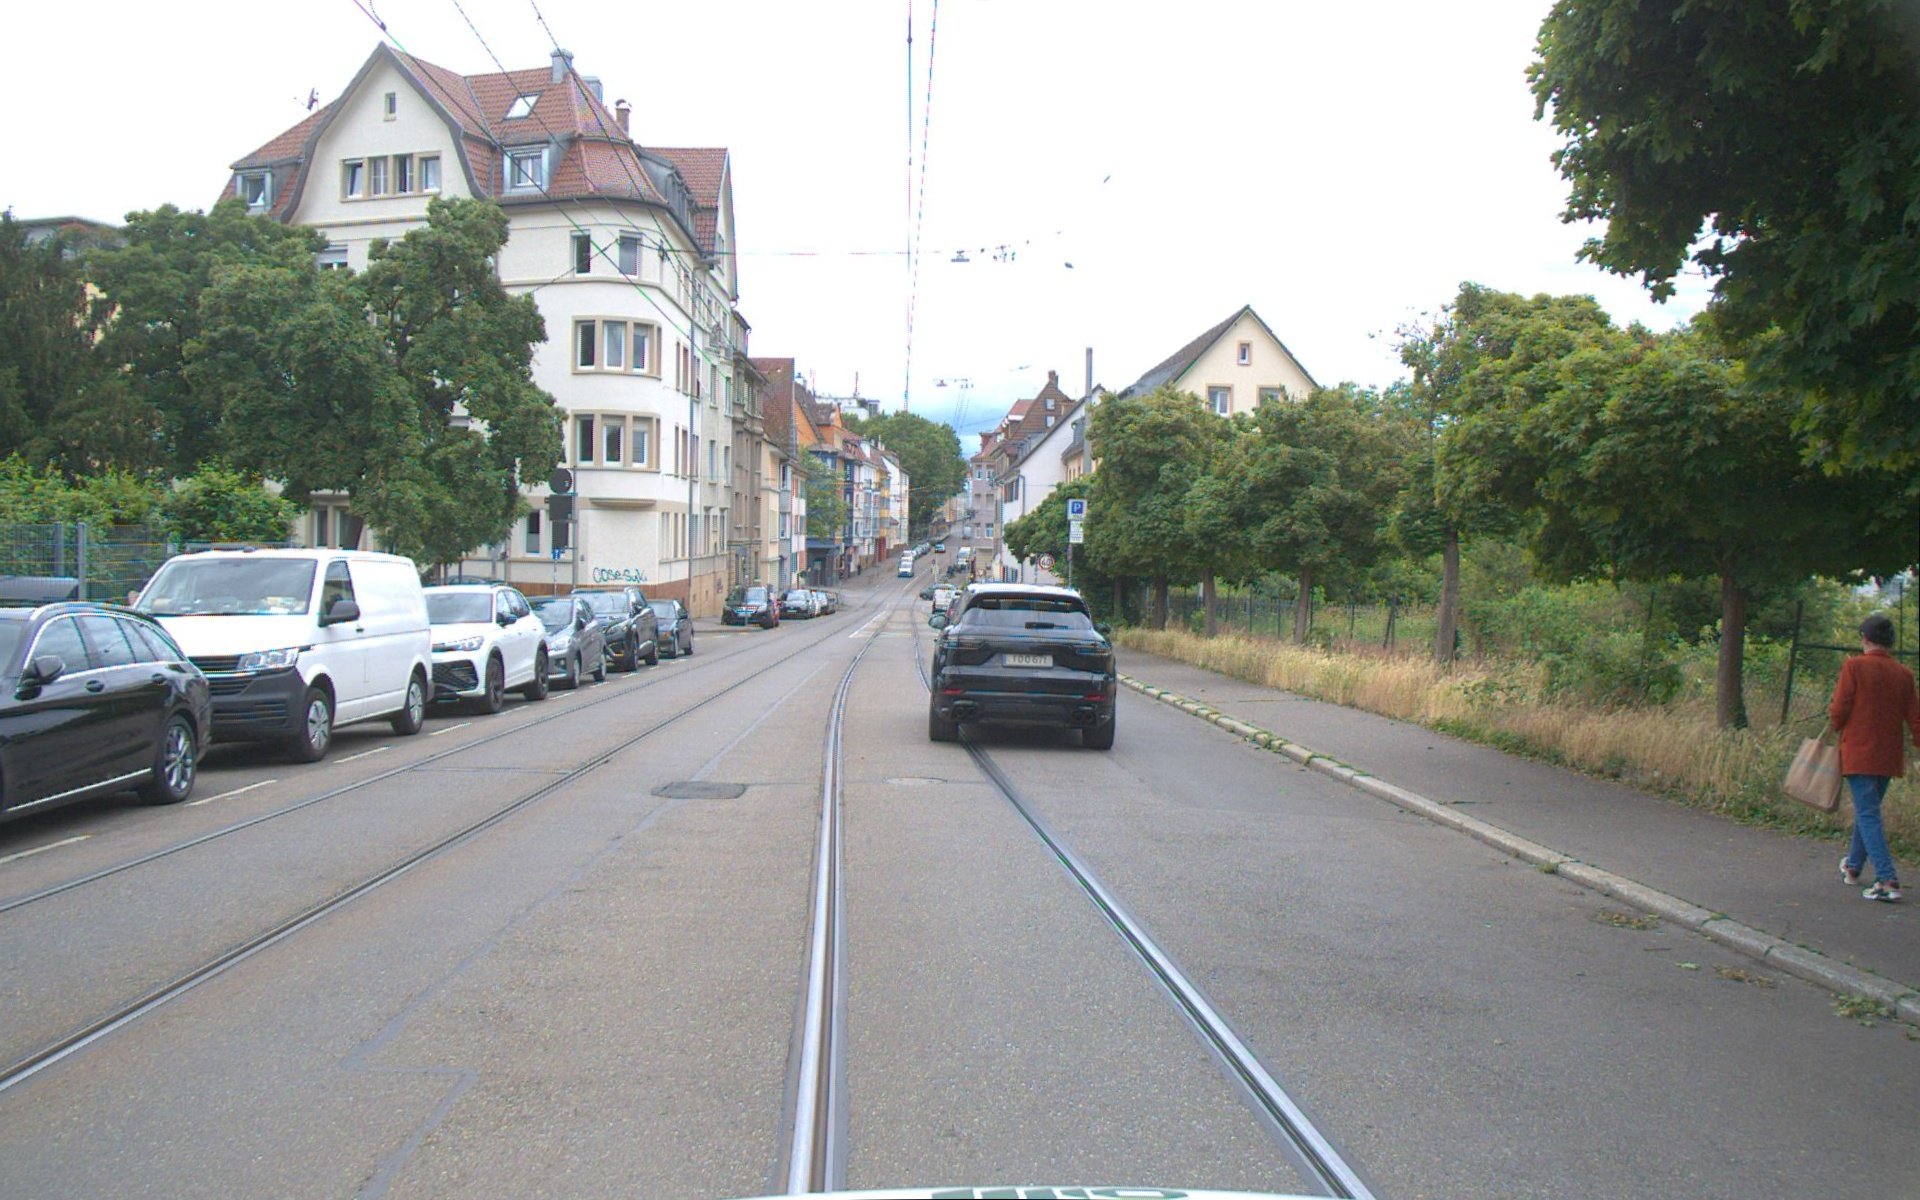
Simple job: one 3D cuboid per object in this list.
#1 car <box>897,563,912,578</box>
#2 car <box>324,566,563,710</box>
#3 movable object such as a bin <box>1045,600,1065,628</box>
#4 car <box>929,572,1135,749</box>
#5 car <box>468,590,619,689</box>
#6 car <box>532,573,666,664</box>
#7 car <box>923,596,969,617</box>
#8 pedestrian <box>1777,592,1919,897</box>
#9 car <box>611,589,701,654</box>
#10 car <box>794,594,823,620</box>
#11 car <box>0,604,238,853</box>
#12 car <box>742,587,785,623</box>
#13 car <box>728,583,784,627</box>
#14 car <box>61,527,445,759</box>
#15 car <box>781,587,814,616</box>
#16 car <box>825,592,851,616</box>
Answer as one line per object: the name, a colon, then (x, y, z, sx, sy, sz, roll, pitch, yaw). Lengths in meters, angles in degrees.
car: (-7.079, -3.750, 211.885, 1.715, 1.790, 4.253, 1, 0, -1)
car: (-6.771, 0.488, 22.225, 1.929, 1.716, 4.630, 1, -1, -3)
movable object such as a bin: (4.261, 0.610, 74.069, 0.776, 1.239, 0.788, 1, 0, -5)
car: (0.680, 0.607, 18.366, 1.953, 1.705, 3.998, 1, 0, -2)
car: (-6.911, 0.647, 27.791, 1.703, 1.535, 3.867, 1, -1, -3)
car: (-7.261, 0.388, 33.714, 1.929, 1.716, 4.441, 1, -1, -3)
car: (-1.258, 0.605, 151.333, 3.747, 1.800, 2.000, 1, 0, 22)
pedestrian: (5.167, 0.790, 9.361, 0.700, 1.649, 0.718, 1, 0, -2)
car: (-7.368, 0.526, 40.385, 1.588, 1.503, 4.154, 1, -1, -3)
car: (-9.223, 0.435, 100.645, 1.588, 1.489, 3.682, 1, -1, -3)
car: (-6.402, 0.736, 10.519, 1.803, 1.411, 4.515, 1, -1, -3)
car: (-8.444, 0.225, 71.286, 1.588, 1.489, 3.743, 1, -1, -3)
car: (-8.033, 0.219, 65.447, 1.830, 1.675, 4.399, 1, -1, -3)
car: (-6.719, 0.395, 16.371, 1.929, 1.946, 4.732, 1, -1, -3)
car: (-8.827, 0.091, 89.937, 1.588, 1.489, 4.030, 1, -1, -3)
car: (-8.051, 0.265, 109.378, 1.588, 1.499, 4.553, 1, -1, -3)
